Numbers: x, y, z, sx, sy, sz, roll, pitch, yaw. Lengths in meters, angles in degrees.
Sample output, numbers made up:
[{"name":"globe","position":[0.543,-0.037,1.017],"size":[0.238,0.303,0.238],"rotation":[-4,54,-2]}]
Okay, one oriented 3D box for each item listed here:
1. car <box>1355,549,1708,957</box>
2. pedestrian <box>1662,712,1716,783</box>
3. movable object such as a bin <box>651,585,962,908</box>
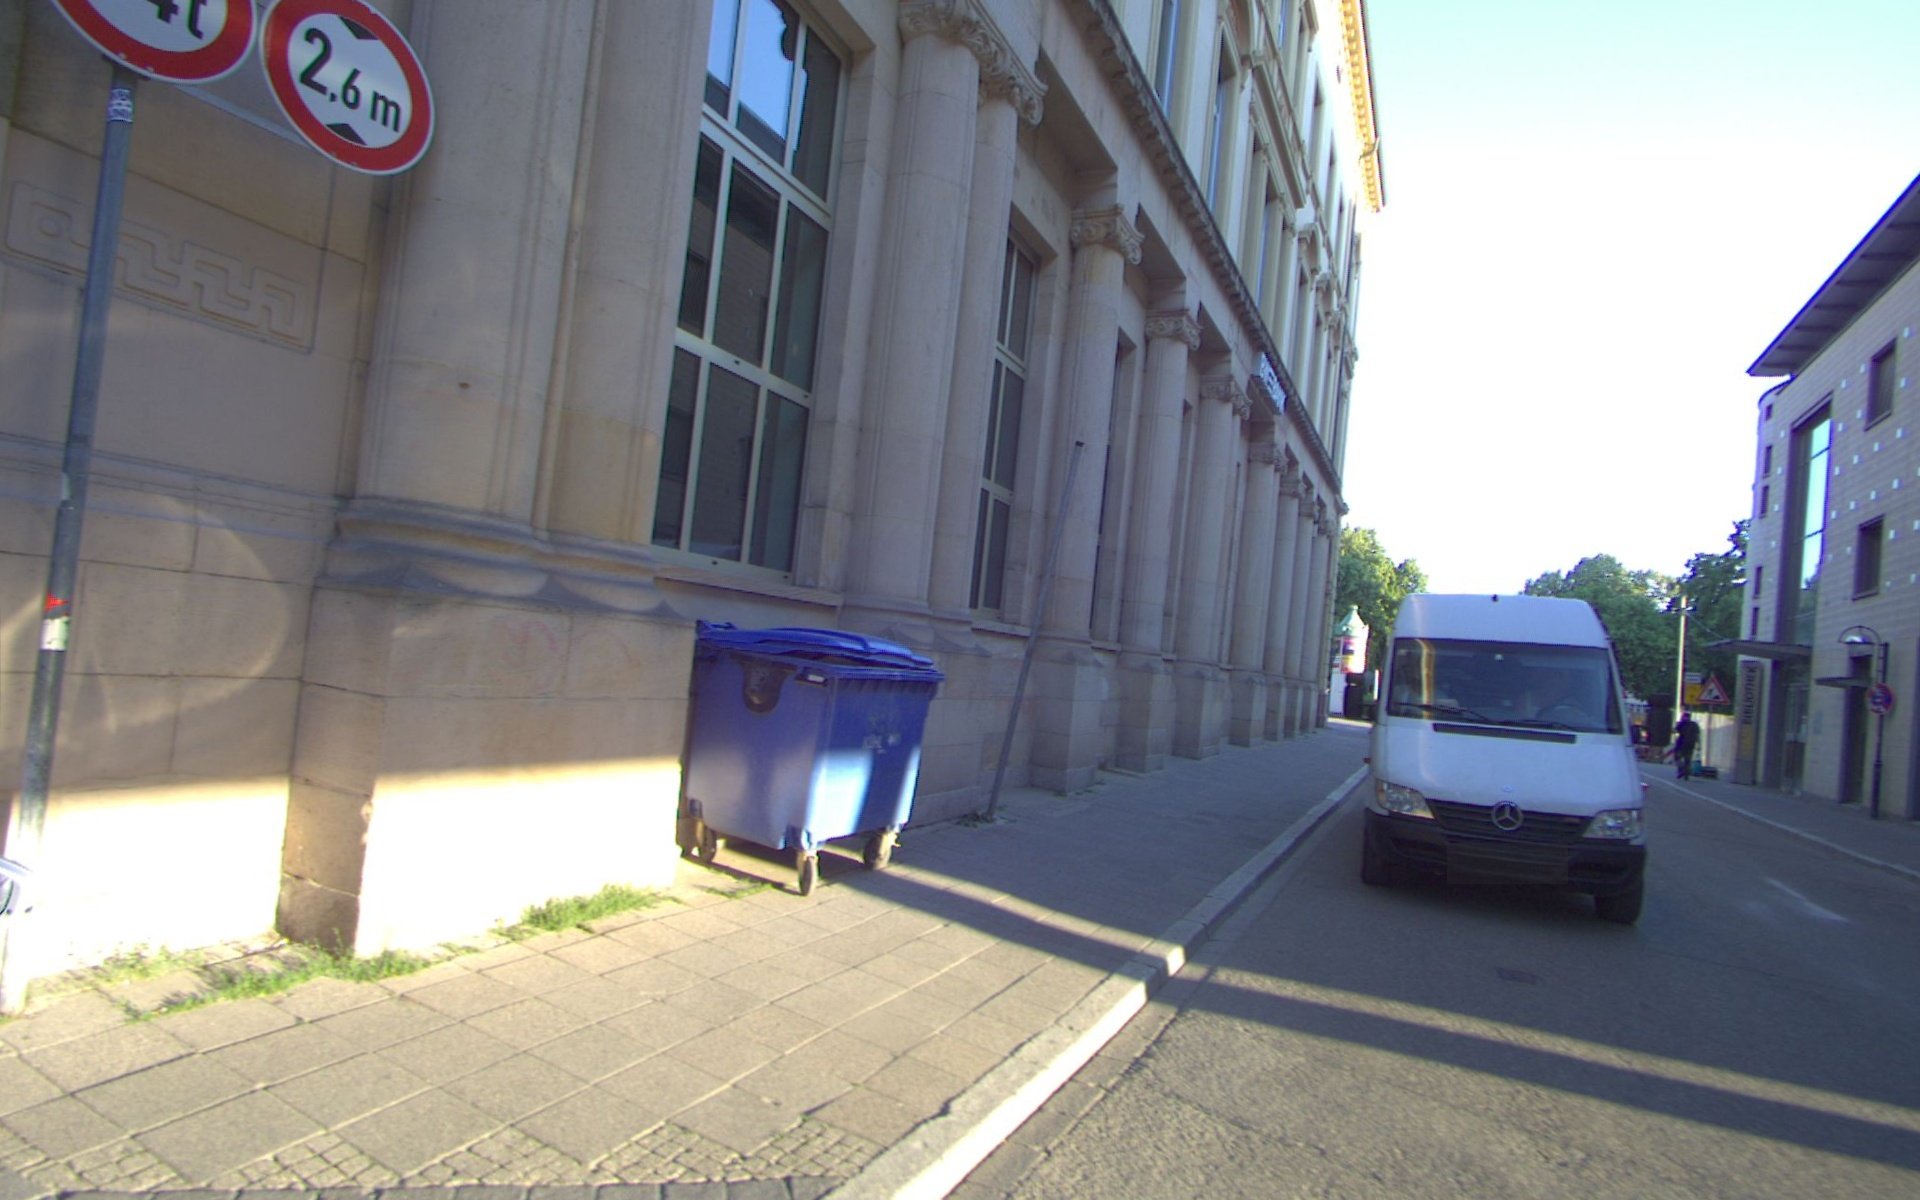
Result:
[{"name":"car","position":[5.033,1.233,9.808],"size":[1.966,2.540,6.473],"rotation":[4,-3,22]},{"name":"pedestrian","position":[19.548,3.934,26.997],"size":[0.910,1.722,0.868],"rotation":[6,-2,29]},{"name":"movable object such as a bin","position":[-0.841,0.787,5.770],"size":[1.059,1.492,1.186],"rotation":[9,-1,30]}]
